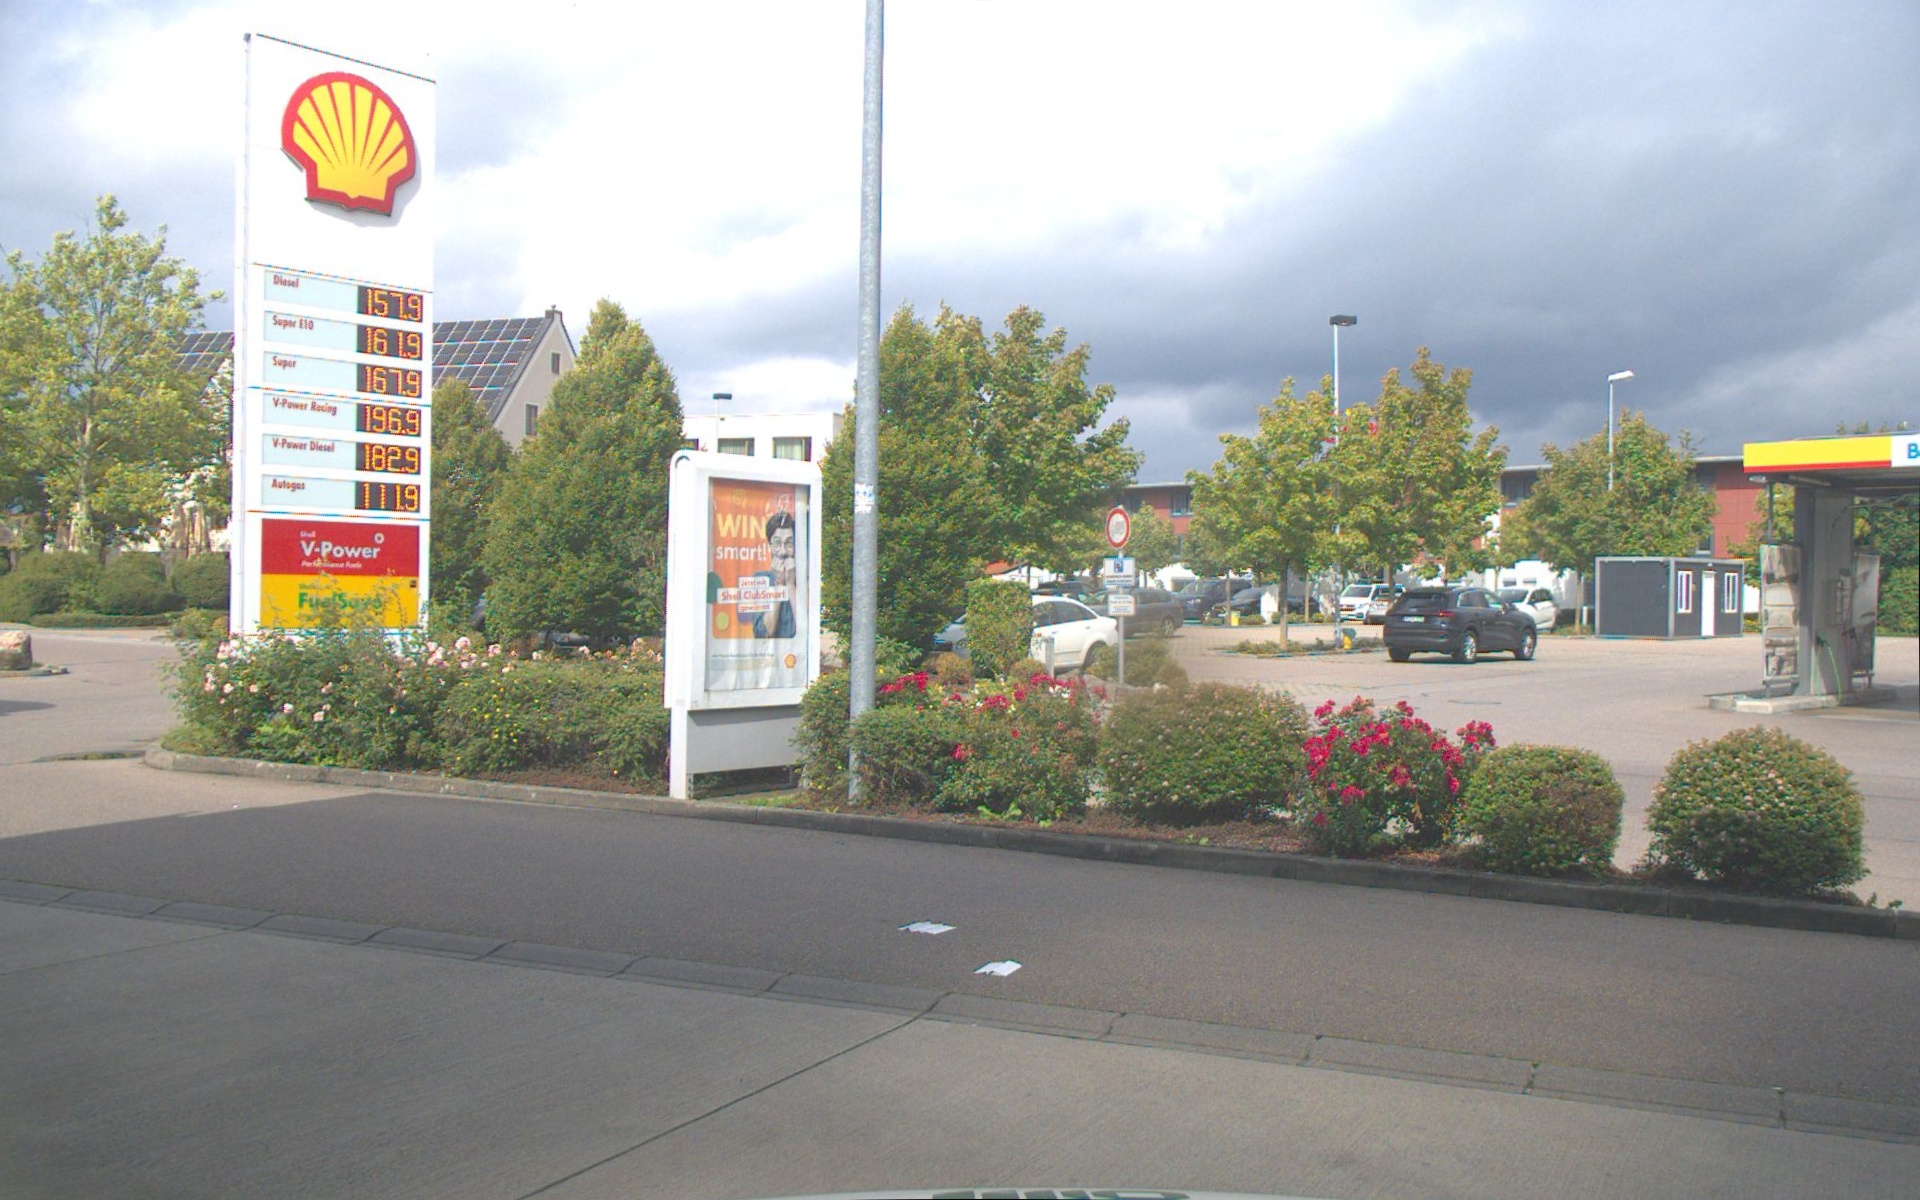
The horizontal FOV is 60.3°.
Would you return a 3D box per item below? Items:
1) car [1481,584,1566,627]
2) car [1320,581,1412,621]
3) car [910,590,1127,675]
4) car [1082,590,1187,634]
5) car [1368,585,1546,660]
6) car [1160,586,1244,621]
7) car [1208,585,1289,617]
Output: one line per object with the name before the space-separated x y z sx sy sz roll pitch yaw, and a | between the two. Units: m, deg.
car | 17.999 0.179 52.793 3.080 1.330 1.346 1 -1 -45
car | 19.903 0.045 80.933 4.839 1.865 2.150 1 0 -44
car | 1.127 0.581 29.921 1.348 1.428 4.312 1 -1 45
car | 5.270 0.373 49.777 3.203 1.249 1.481 1 0 -45
car | 11.124 0.493 36.879 4.467 1.575 1.856 1 0 -44
car | 9.801 0.152 66.918 3.364 1.343 1.719 1 0 -45
car | 11.403 0.049 65.196 3.393 1.199 1.462 1 0 -45
